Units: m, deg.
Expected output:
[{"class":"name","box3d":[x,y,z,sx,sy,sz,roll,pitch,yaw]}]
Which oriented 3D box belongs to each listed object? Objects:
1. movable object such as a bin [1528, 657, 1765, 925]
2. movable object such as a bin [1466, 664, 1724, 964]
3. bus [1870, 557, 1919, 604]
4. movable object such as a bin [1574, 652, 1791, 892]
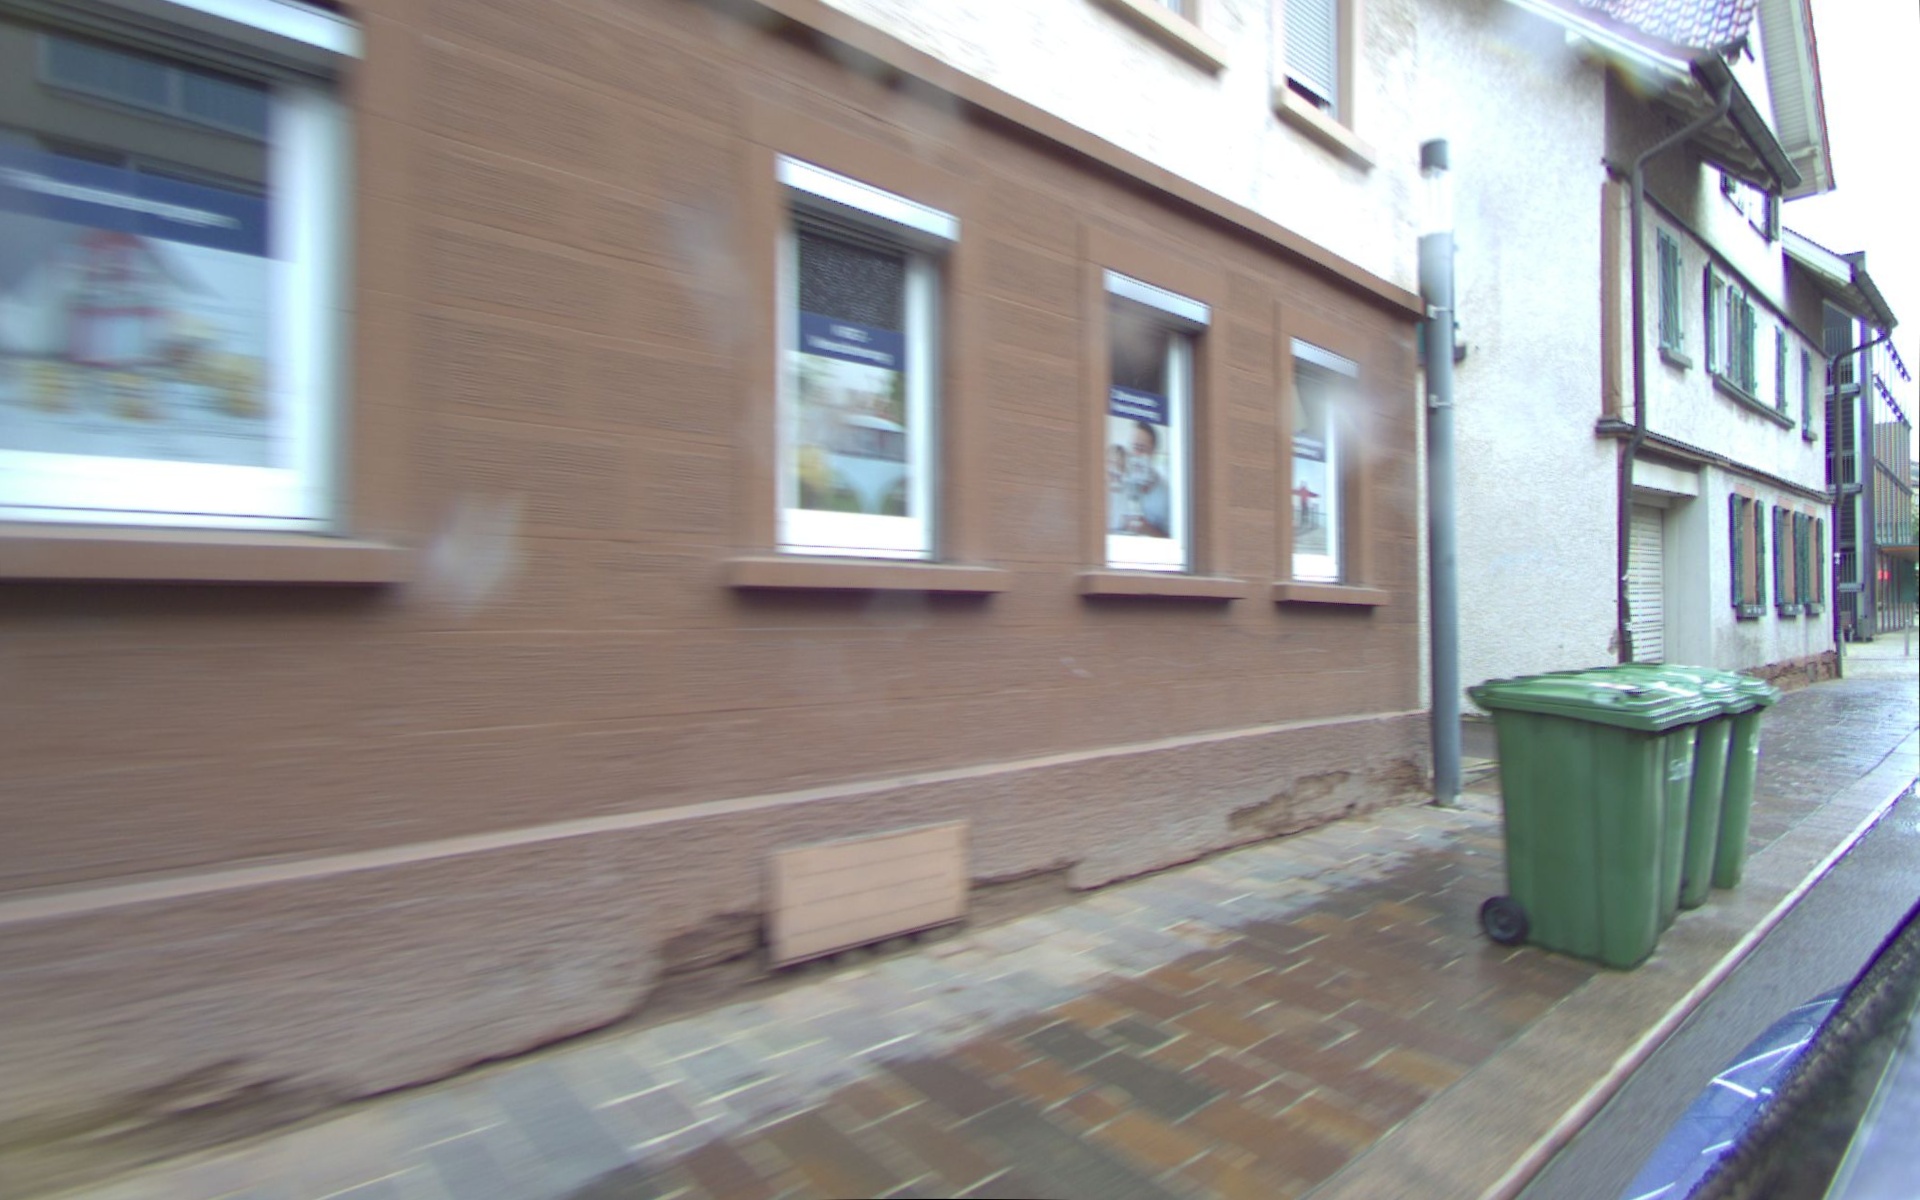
[{"class":"movable object such as a bin","box3d":[3.110,0.804,4.599,0.627,1.035,0.733,0,-1,-39]},{"class":"movable object such as a bin","box3d":[2.612,0.811,4.179,0.627,1.035,0.733,0,-1,-39]},{"class":"bus","box3d":[67.363,-1.351,70.695,2.575,3.234,7.341,0,0,15]},{"class":"movable object such as a bin","box3d":[3.585,0.797,5.035,0.627,1.035,0.733,0,-1,-39]}]
